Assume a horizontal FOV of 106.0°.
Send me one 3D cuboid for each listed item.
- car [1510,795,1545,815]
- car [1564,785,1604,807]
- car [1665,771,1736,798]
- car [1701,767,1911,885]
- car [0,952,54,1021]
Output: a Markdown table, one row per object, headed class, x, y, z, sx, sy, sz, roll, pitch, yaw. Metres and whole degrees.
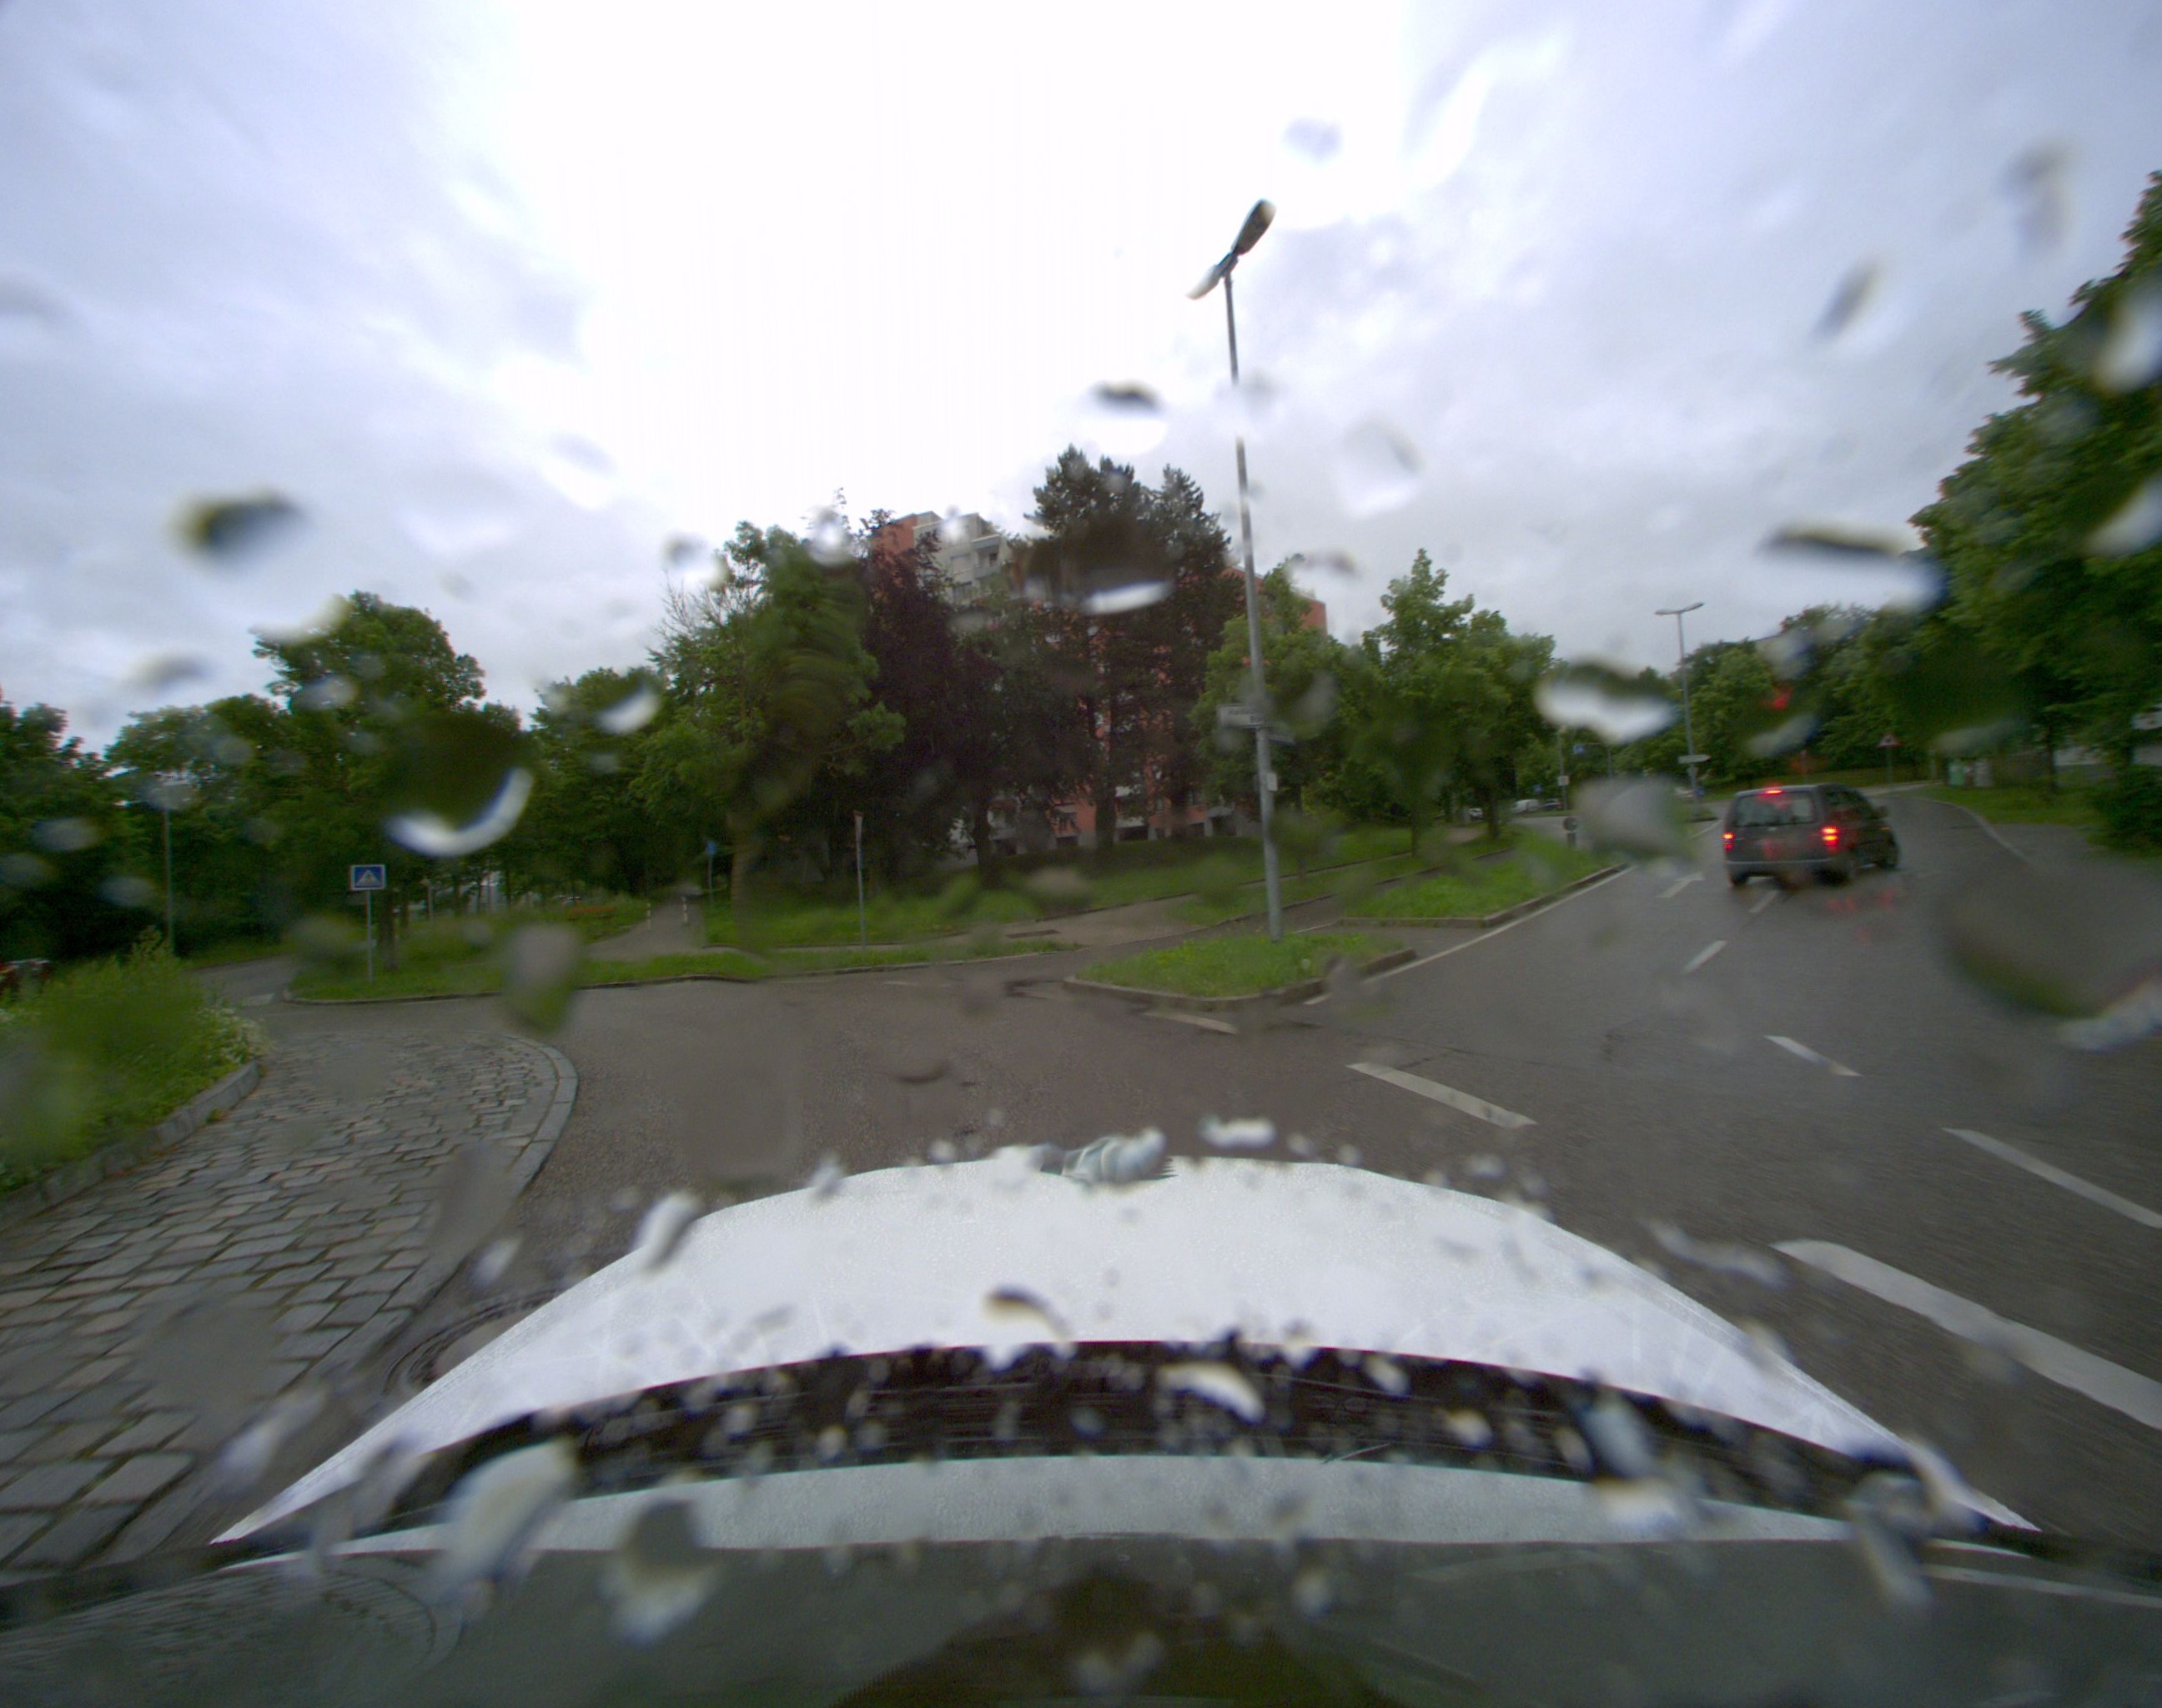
| class | x | y | z | sx | sy | sz | roll | pitch | yaw |
| --- | --- | --- | --- | --- | --- | --- | --- | --- | --- |
| car | 51.608 | -5.620 | 94.197 | 1.984 | 1.873 | 4.006 | -4 | -1 | 5 |
| car | 52.579 | -6.056 | 85.191 | 1.838 | 1.873 | 3.865 | -4 | -1 | 4 |
| car | 48.940 | -5.463 | 64.431 | 1.890 | 1.565 | 3.966 | -4 | -1 | -25 |
| car | 13.827 | -0.542 | 15.500 | 3.804 | 1.801 | 1.905 | -7 | 1 | -32 |
| car | -31.131 | 3.835 | 22.181 | 2.005 | 1.795 | 5.063 | -4 | -1 | -28 |
